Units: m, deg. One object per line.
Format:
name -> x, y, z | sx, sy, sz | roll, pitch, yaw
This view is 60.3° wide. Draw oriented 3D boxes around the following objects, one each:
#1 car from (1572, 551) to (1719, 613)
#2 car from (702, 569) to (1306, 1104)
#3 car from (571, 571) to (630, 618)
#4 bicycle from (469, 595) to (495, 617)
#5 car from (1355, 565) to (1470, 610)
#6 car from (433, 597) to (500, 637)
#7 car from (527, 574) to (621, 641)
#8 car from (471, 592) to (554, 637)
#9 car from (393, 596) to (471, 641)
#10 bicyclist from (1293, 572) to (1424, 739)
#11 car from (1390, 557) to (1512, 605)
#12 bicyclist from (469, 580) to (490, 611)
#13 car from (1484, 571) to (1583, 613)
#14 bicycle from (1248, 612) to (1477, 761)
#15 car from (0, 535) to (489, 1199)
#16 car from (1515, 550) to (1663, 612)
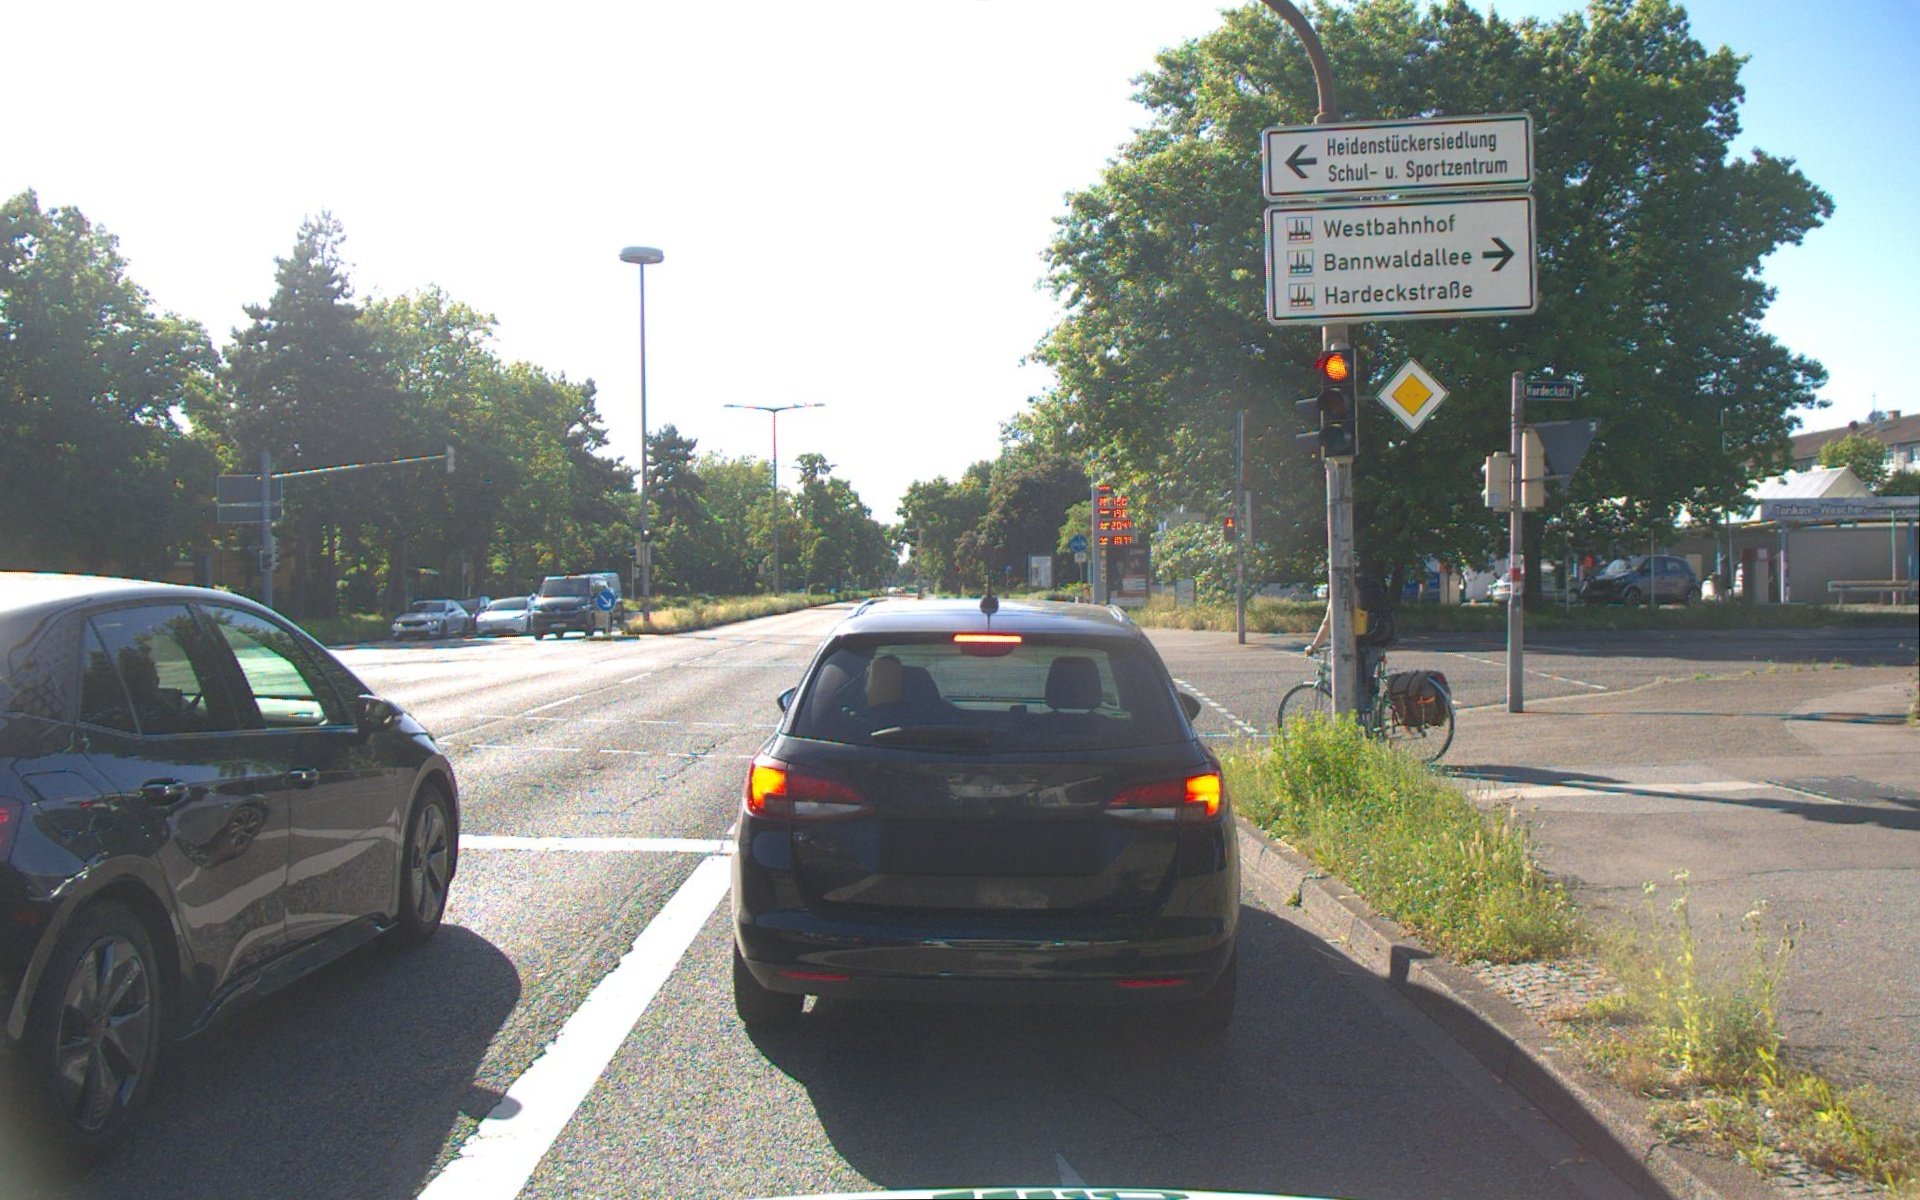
car -> 19.988, -0.536, 48.197 | 3.934, 1.709, 1.732 | -2, 0, -24
car -> 0.101, 0.683, 6.839 | 1.721, 1.521, 4.206 | 0, 0, -1
car -> -20.396, -0.311, 94.157 | 2.057, 2.536, 6.003 | -1, 0, -1
bicycle -> -26.921, 0.328, 93.164 | 0.858, 1.233, 2.534 | -2, 0, -5
car -> 16.432, -0.466, 60.062 | 3.837, 1.544, 1.732 | -2, 0, -24
car -> -20.227, 0.685, 67.939 | 1.652, 1.535, 4.002 | -1, 0, -2
car -> -12.444, 0.217, 53.607 | 1.872, 2.027, 5.014 | -1, 0, -1
car -> -16.411, 0.509, 60.859 | 1.850, 1.551, 4.503 | -1, 0, -1
car -> -19.586, 0.659, 61.493 | 1.652, 1.535, 4.003 | -1, 0, -1
bicyclist -> 3.217, 0.448, 13.374 | 0.534, 1.299, 0.816 | -2, -2, -44
car -> 16.909, -0.654, 56.986 | 3.837, 1.544, 1.732 | -2, 0, -24
bicyclist -> -26.968, -0.246, 92.793 | 0.858, 1.677, 1.198 | -2, 0, -5
car -> 24.856, -0.364, 71.685 | 3.935, 1.709, 1.732 | -2, 0, -24
bicycle -> 3.225, 0.699, 13.372 | 0.533, 1.117, 1.748 | -2, -2, -44
car -> -3.000, 0.657, 5.607 | 1.650, 1.608, 4.206 | 0, 0, -1
car -> 19.031, -0.586, 50.046 | 3.935, 1.780, 1.985 | -1, 0, -24
